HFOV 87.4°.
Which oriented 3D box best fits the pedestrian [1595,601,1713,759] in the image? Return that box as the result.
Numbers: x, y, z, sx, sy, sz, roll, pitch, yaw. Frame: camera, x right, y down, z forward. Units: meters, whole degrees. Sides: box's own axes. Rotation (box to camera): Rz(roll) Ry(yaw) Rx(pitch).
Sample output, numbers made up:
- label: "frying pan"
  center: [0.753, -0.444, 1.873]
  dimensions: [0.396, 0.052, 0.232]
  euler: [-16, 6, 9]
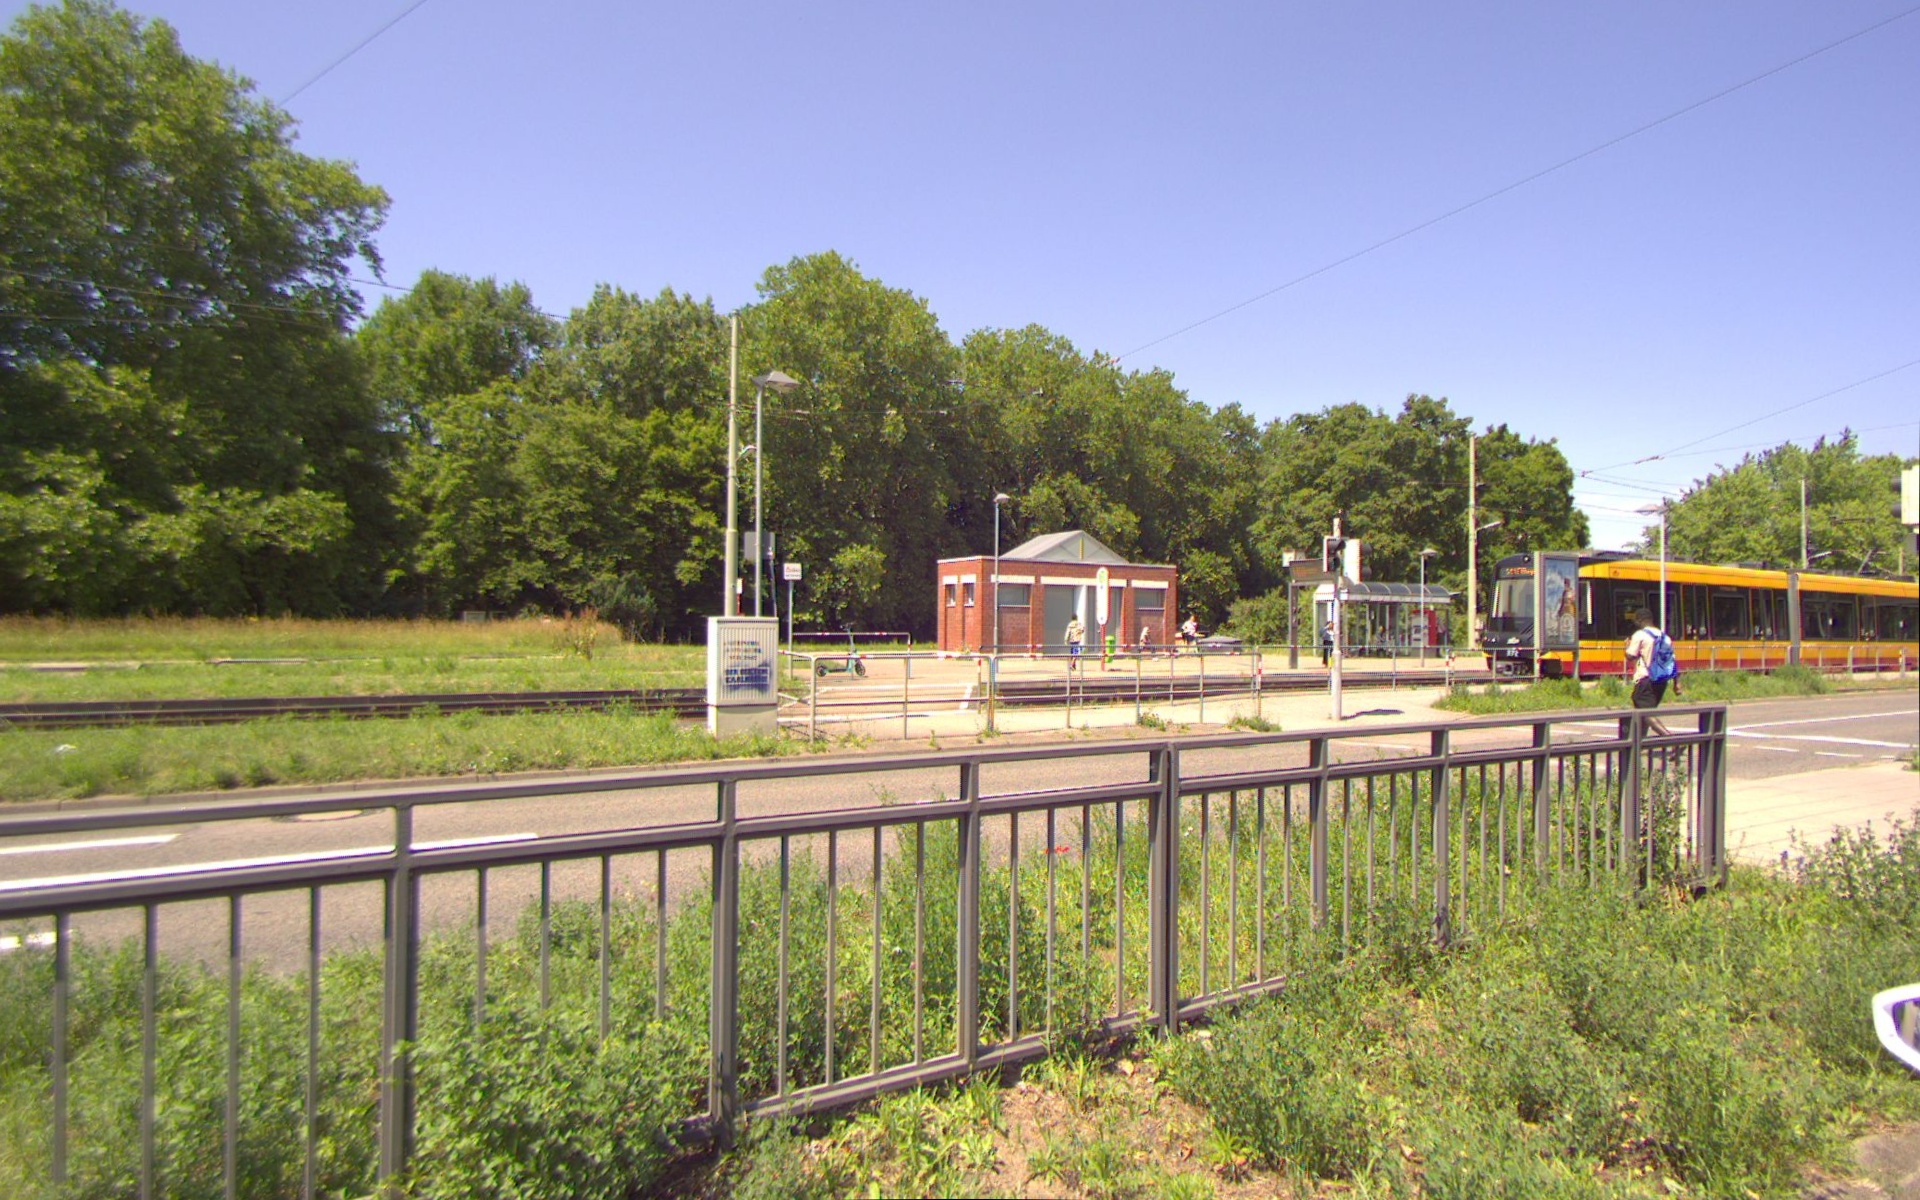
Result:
- label: "pedestrian"
  center: [8.338, 0.950, 12.091]
  dimensions: [0.711, 1.801, 0.836]
  euler: [-1, -3, -30]

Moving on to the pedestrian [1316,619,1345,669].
- label: "pedestrian"
  center: [11.929, 1.404, 32.378]
  dimensions: [0.688, 1.575, 0.629]
  euler: [1, -1, -42]

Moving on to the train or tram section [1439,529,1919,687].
- label: "train or tram section"
  center: [26.282, 0.514, 33.060]
  dimensions: [29.680, 3.799, 2.944]
  euler: [1, -1, -31]

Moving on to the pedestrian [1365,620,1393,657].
- label: "pedestrian"
  center: [17.249, 1.581, 41.372]
  dimensions: [0.710, 1.531, 0.841]
  euler: [1, -1, -19]

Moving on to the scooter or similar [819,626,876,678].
- label: "scooter or similar"
  center: [-2.634, 1.210, 23.449]
  dimensions: [1.217, 1.183, 0.508]
  euler: [1, -1, -30]

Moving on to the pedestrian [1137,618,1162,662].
- label: "pedestrian"
  center: [6.609, 1.394, 35.070]
  dimensions: [0.563, 1.499, 0.636]
  euler: [1, -1, -30]

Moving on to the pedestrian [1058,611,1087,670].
- label: "pedestrian"
  center: [3.137, 1.125, 27.977]
  dimensions: [0.660, 1.611, 0.808]
  euler: [0, -1, 18]

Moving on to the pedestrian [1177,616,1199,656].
- label: "pedestrian"
  center: [8.402, 1.332, 37.040]
  dimensions: [0.573, 1.476, 0.639]
  euler: [1, -1, -15]

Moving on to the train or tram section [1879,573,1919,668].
- label: "train or tram section"
  center: [53.063, 1.162, 48.897]
  dimensions: [32.699, 3.840, 2.917]
  euler: [1, -1, -31]

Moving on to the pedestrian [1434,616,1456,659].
- label: "pedestrian"
  center: [20.788, 1.595, 43.066]
  dimensions: [0.707, 1.824, 0.845]
  euler: [0, -1, 17]
